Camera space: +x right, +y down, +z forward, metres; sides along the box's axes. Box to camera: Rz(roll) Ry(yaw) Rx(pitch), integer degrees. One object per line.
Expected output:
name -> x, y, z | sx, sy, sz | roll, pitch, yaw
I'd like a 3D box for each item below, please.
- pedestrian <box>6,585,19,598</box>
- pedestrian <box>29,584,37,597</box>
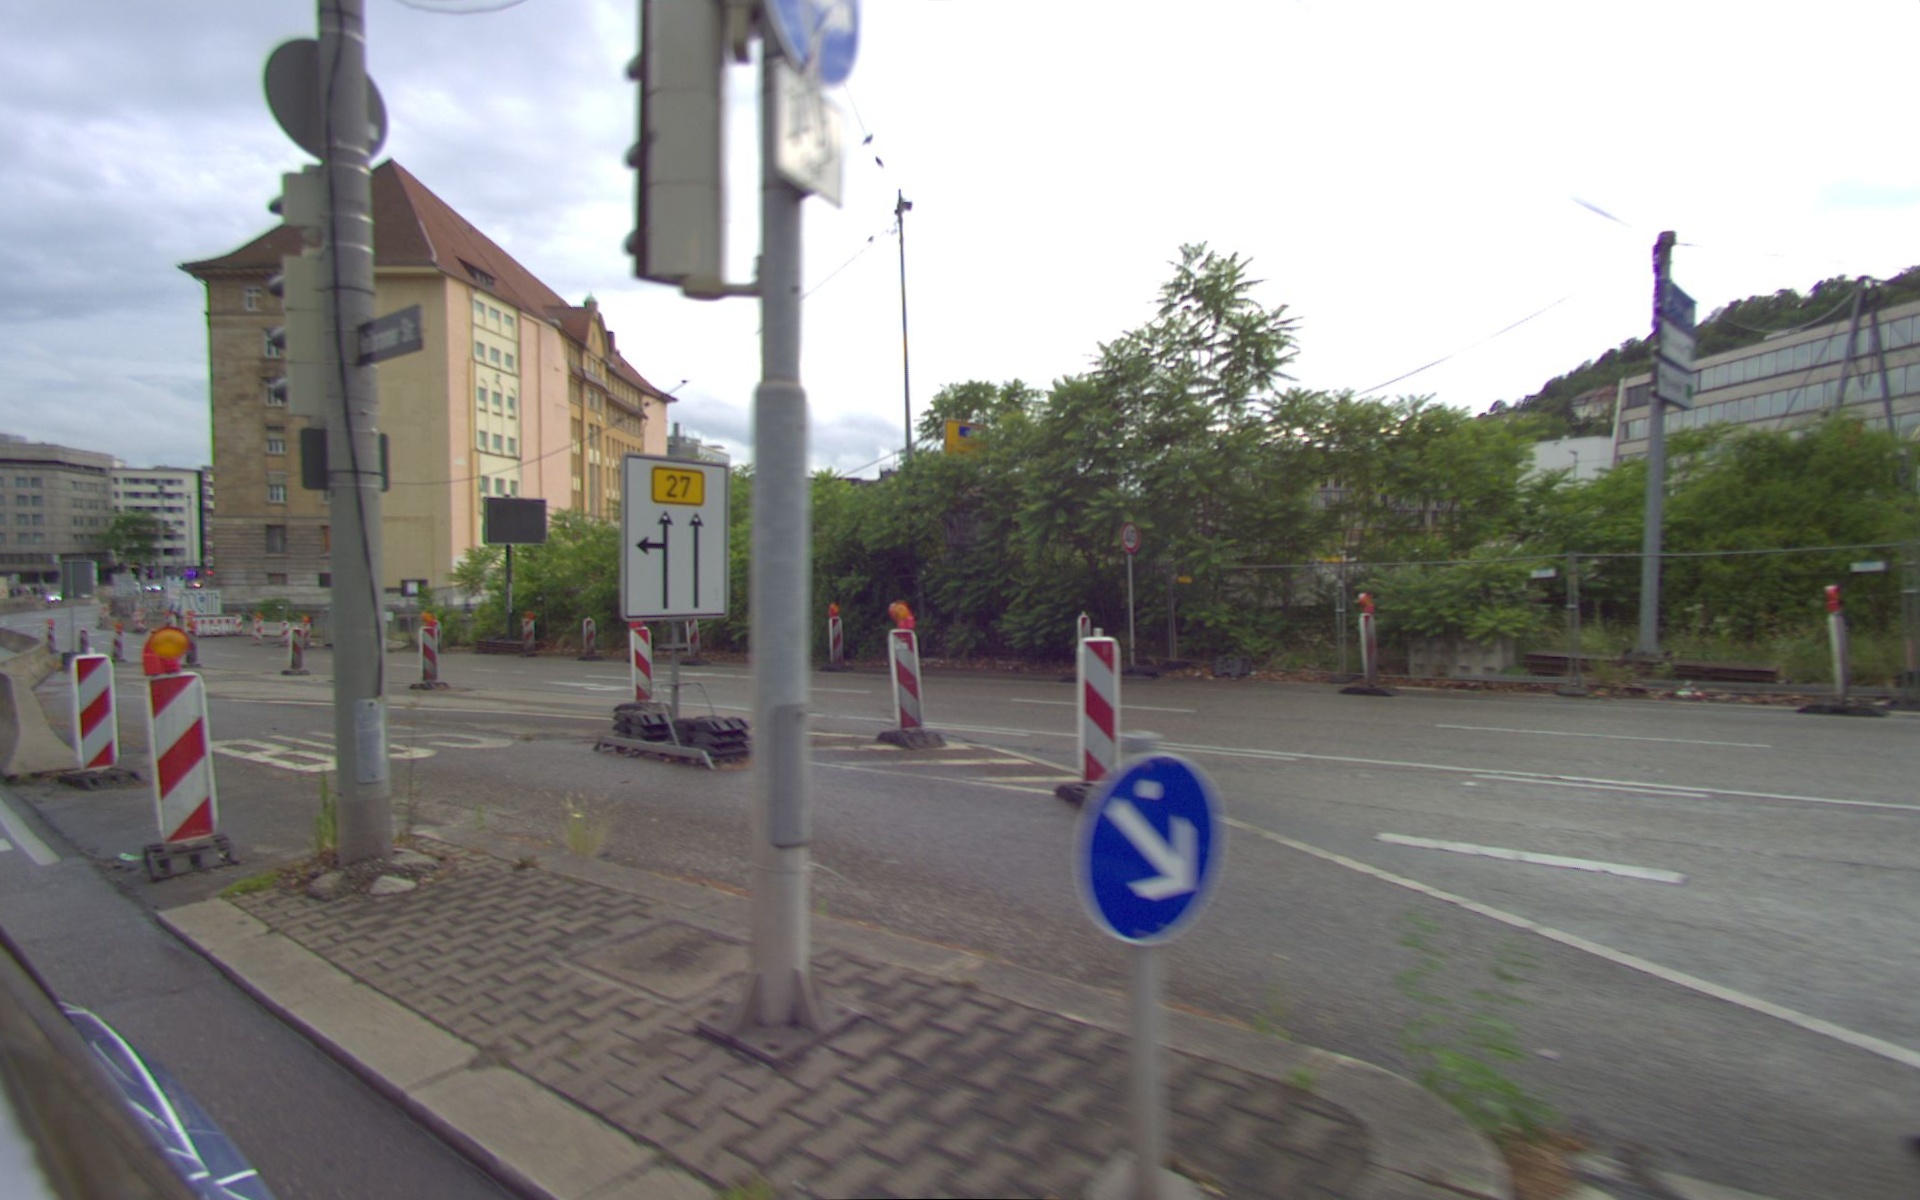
pedestrian -> -133.551, -1.250, 142.582 | 1.081, 1.774, 0.909 | 1, 1, -23
pedestrian -> -132.907, -1.392, 145.080 | 0.745, 1.774, 0.767 | 1, 1, -39
